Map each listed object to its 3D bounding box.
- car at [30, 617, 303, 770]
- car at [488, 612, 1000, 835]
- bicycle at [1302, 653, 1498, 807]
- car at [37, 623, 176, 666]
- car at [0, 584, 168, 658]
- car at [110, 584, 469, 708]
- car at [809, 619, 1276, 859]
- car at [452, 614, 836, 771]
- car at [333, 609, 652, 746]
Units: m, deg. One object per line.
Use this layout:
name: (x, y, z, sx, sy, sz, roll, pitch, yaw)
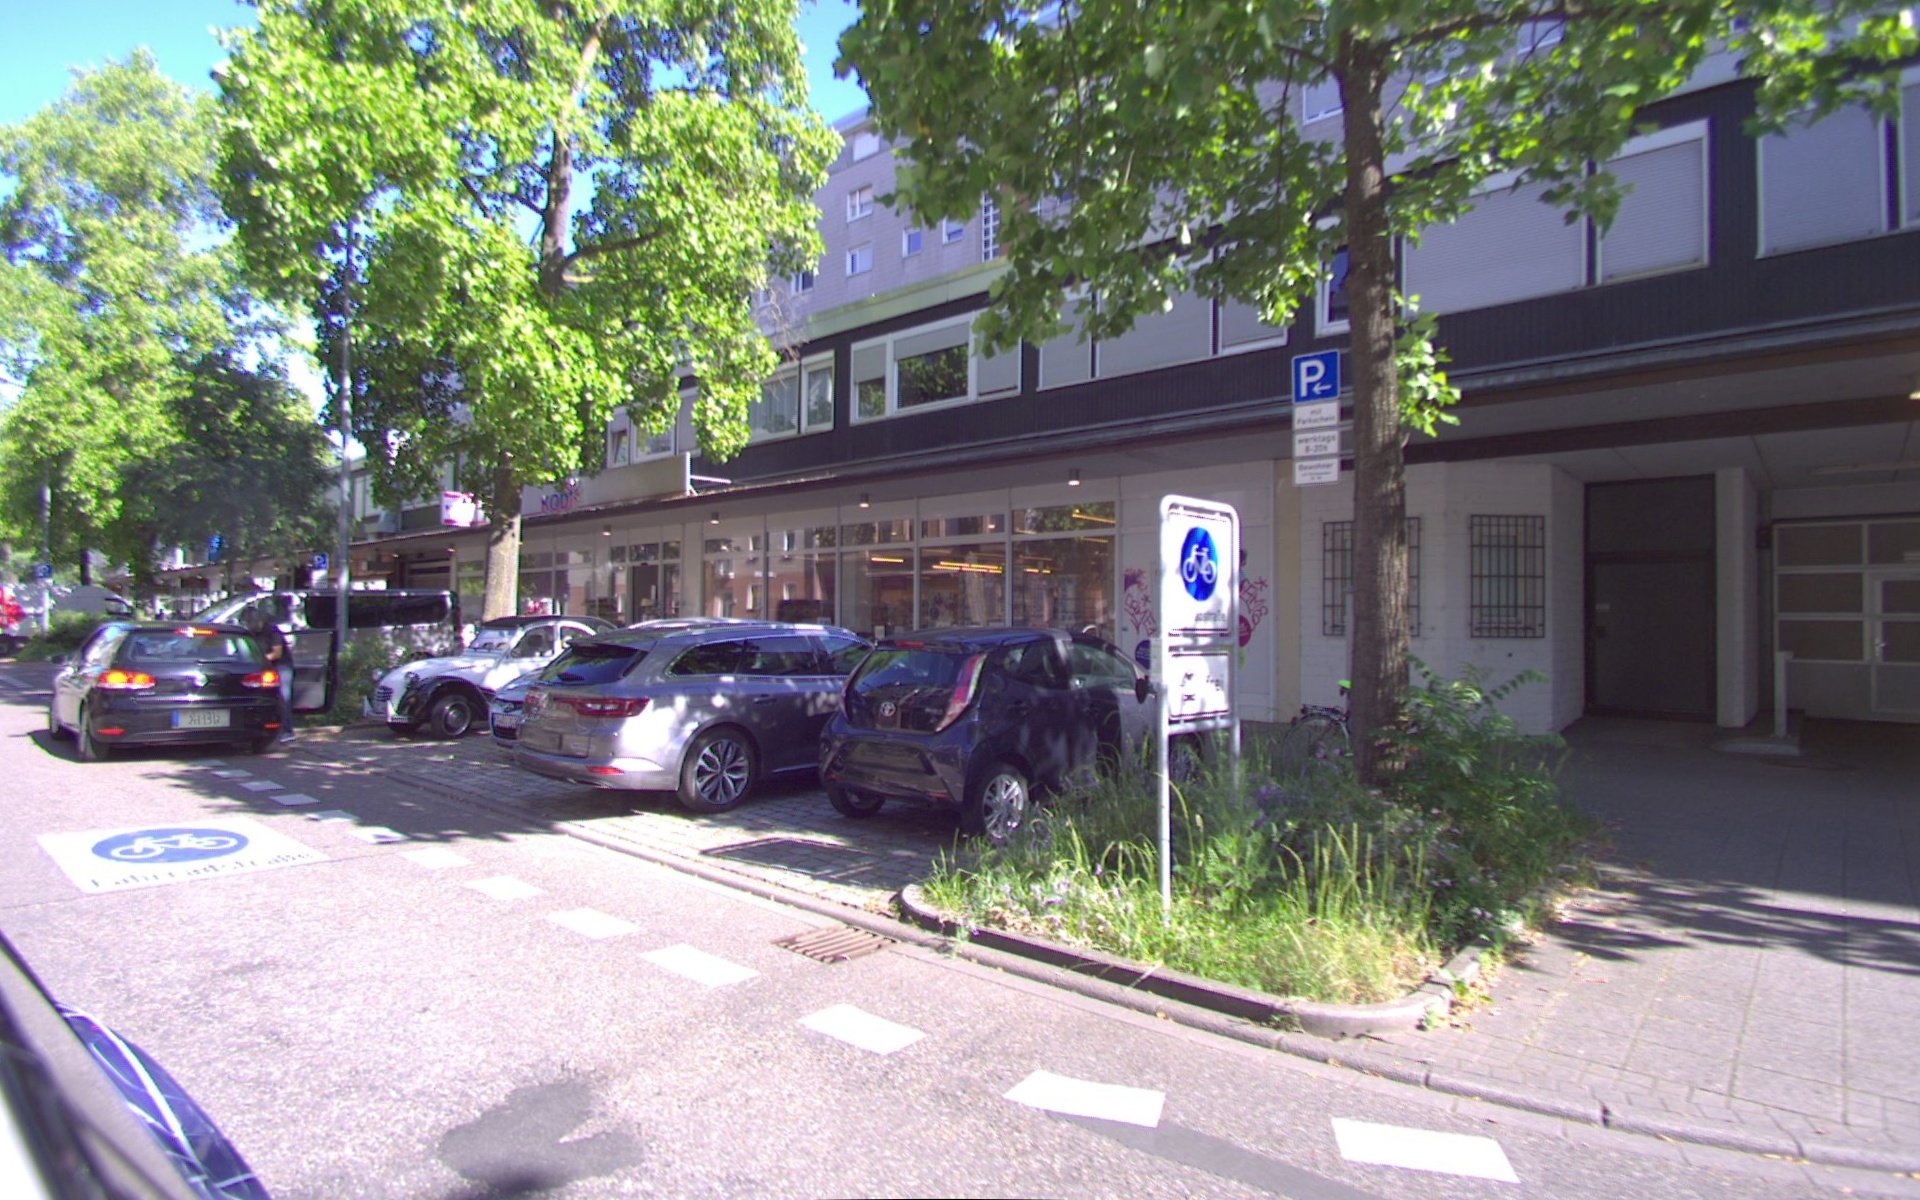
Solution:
car: (-9.144, 0.945, 11.555, 3.959, 1.449, 1.744, -1, -3, 42)
car: (-1.703, 0.874, 9.092, 1.762, 1.471, 4.257, -1, -1, 43)
bicycle: (3.430, 0.973, 7.946, 1.342, 1.086, 0.461, -1, -2, 39)
car: (-30.403, 1.551, 36.102, 1.831, 1.431, 3.556, -1, -2, 41)
car: (-32.835, 0.771, 36.561, 1.985, 2.493, 6.558, -1, -1, 20)
car: (-12.246, 0.771, 18.828, 2.014, 1.989, 5.237, -1, -1, 41)
car: (0.921, 0.900, 8.396, 1.643, 1.444, 4.259, -1, -1, 41)
car: (-3.443, 0.905, 11.661, 1.809, 1.474, 3.951, -1, -1, 36)
car: (-6.093, 0.916, 13.571, 1.678, 1.564, 3.571, -1, -1, 31)
